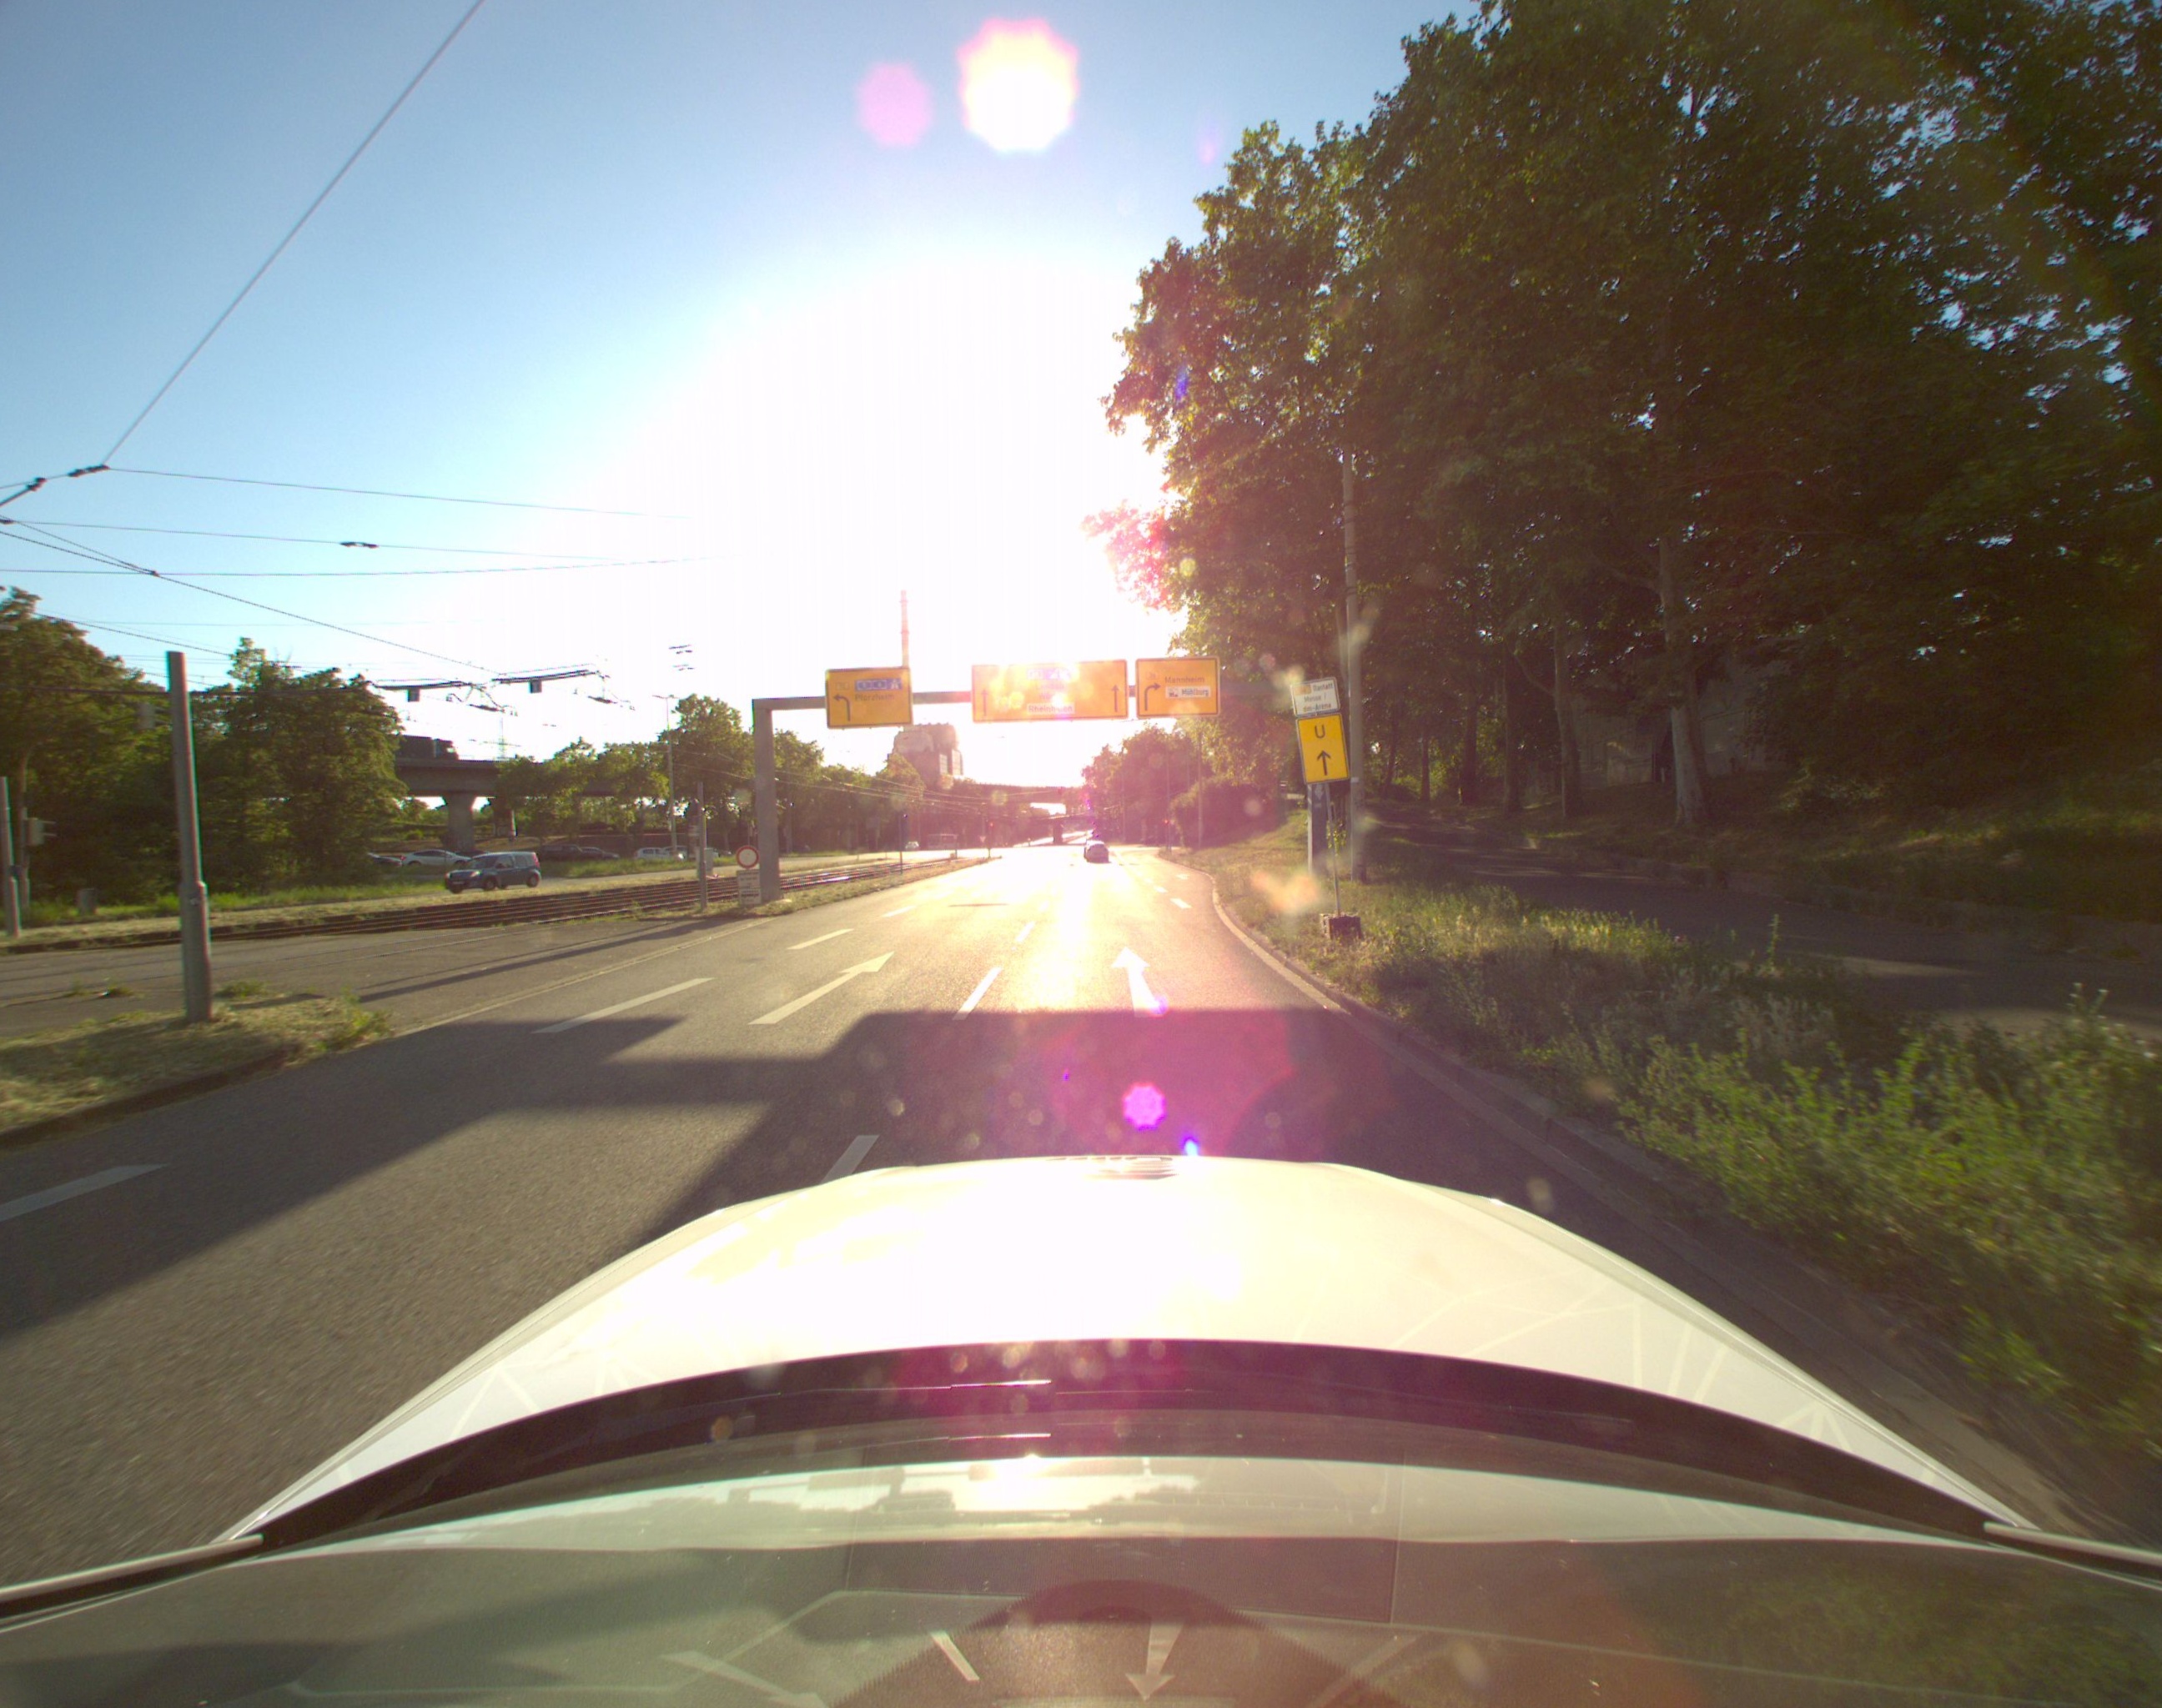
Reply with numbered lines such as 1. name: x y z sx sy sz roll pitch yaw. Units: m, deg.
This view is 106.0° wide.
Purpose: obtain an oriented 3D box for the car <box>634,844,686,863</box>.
1. car: -37.577 -0.091 72.770 4.007 1.574 1.680 -2 1 -25

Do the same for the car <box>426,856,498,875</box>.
1. car: -52.532 0.961 69.215 4.639 1.458 1.678 -2 2 -29

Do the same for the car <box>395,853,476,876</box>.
1. car: -51.556 0.835 65.183 4.781 1.574 1.678 -3 1 -29

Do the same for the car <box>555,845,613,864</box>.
1. car: -44.642 -0.009 73.184 4.257 1.574 1.679 -2 1 -26

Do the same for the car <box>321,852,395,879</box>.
1. car: -58.452 0.893 65.915 4.010 2.013 1.982 -2 1 -28

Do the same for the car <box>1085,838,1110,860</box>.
1. car: 1.220 -0.393 61.582 1.731 1.505 4.000 -2 2 0

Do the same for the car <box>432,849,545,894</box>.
1. car: -27.544 0.758 38.056 1.925 1.787 4.264 -2 2 3

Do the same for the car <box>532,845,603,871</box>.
1. car: -43.679 0.298 69.385 4.958 1.991 2.018 -2 2 -29

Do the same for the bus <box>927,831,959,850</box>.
1. bus: -24.734 -2.343 146.652 2.532 3.130 12.931 -2 0 4

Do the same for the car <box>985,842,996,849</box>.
1. car: -20.262 -1.881 182.404 1.600 1.419 4.012 -1 1 3

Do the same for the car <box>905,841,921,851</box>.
1. car: -25.944 -1.267 125.721 1.602 1.512 4.007 -1 1 -1

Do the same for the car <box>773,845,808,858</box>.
1. car: -37.923 -0.375 106.356 3.971 1.505 1.743 -2 2 2

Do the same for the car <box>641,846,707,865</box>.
1. car: -38.096 0.119 76.299 5.372 1.574 1.728 -2 1 -23
